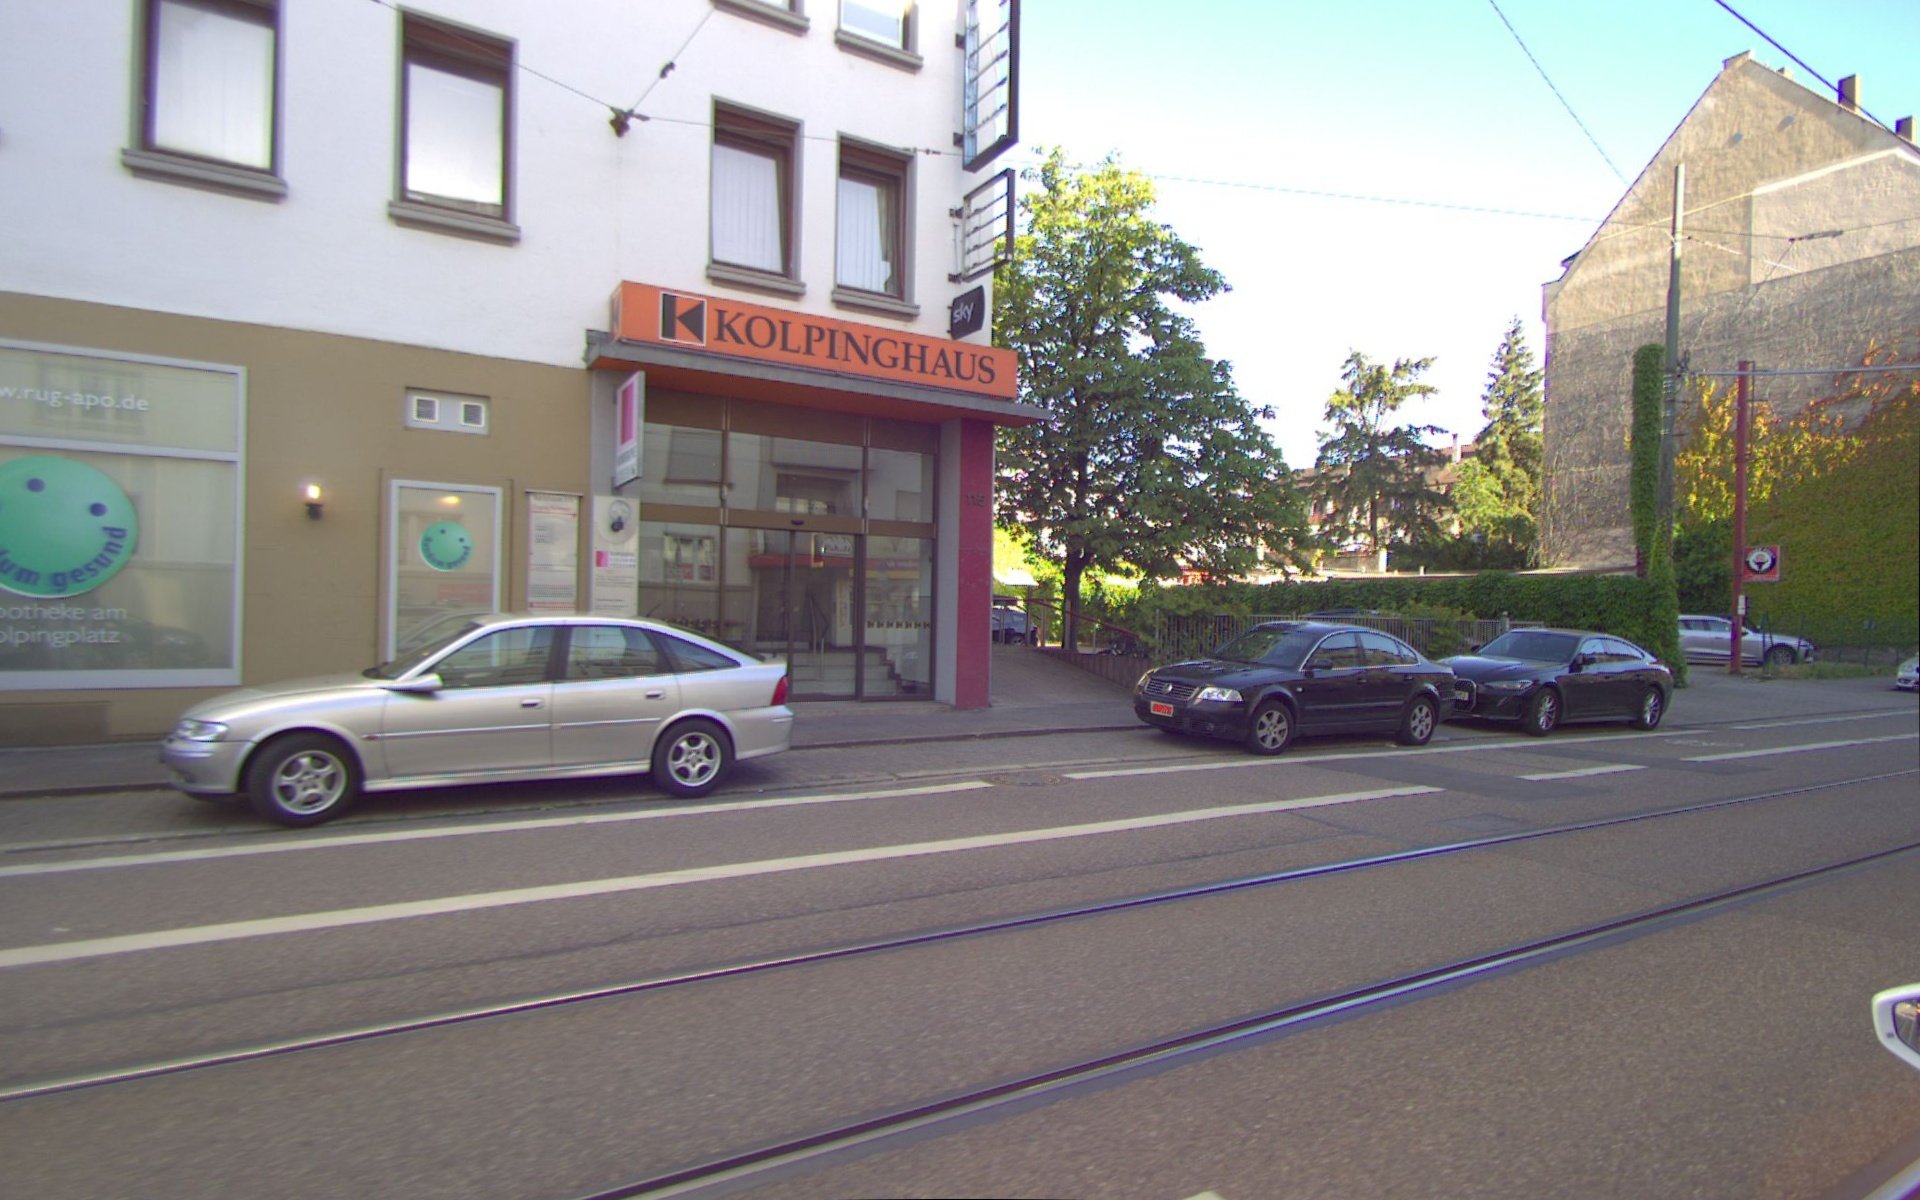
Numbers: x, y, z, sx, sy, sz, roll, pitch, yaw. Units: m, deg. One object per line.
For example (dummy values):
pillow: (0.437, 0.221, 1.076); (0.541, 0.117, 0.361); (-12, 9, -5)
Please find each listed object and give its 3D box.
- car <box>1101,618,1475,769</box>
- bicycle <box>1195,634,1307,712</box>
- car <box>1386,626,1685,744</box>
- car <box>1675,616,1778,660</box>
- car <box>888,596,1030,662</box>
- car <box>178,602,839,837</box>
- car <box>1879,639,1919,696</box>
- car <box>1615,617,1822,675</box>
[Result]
car: (4.143, 1.045, 12.434); (4.646, 1.501, 1.774); (2, 1, -31)
bicycle: (4.714, 1.161, 16.206); (2.026, 1.190, 0.437); (2, 0, -30)
car: (8.819, 1.210, 15.290); (4.785, 1.465, 1.774); (2, 1, -30)
car: (28.899, 1.429, 37.860); (3.863, 1.546, 1.744); (2, 0, -30)
car: (-0.058, 0.889, 31.189); (4.080, 1.919, 1.766); (1, 0, -16)
car: (-3.369, 0.803, 8.119); (4.391, 1.417, 1.775); (2, 1, -29)
car: (25.085, 1.725, 25.229); (4.171, 1.331, 1.774); (2, 1, -30)
car: (22.943, 1.349, 30.648); (4.708, 1.538, 1.998); (1, -1, 27)
